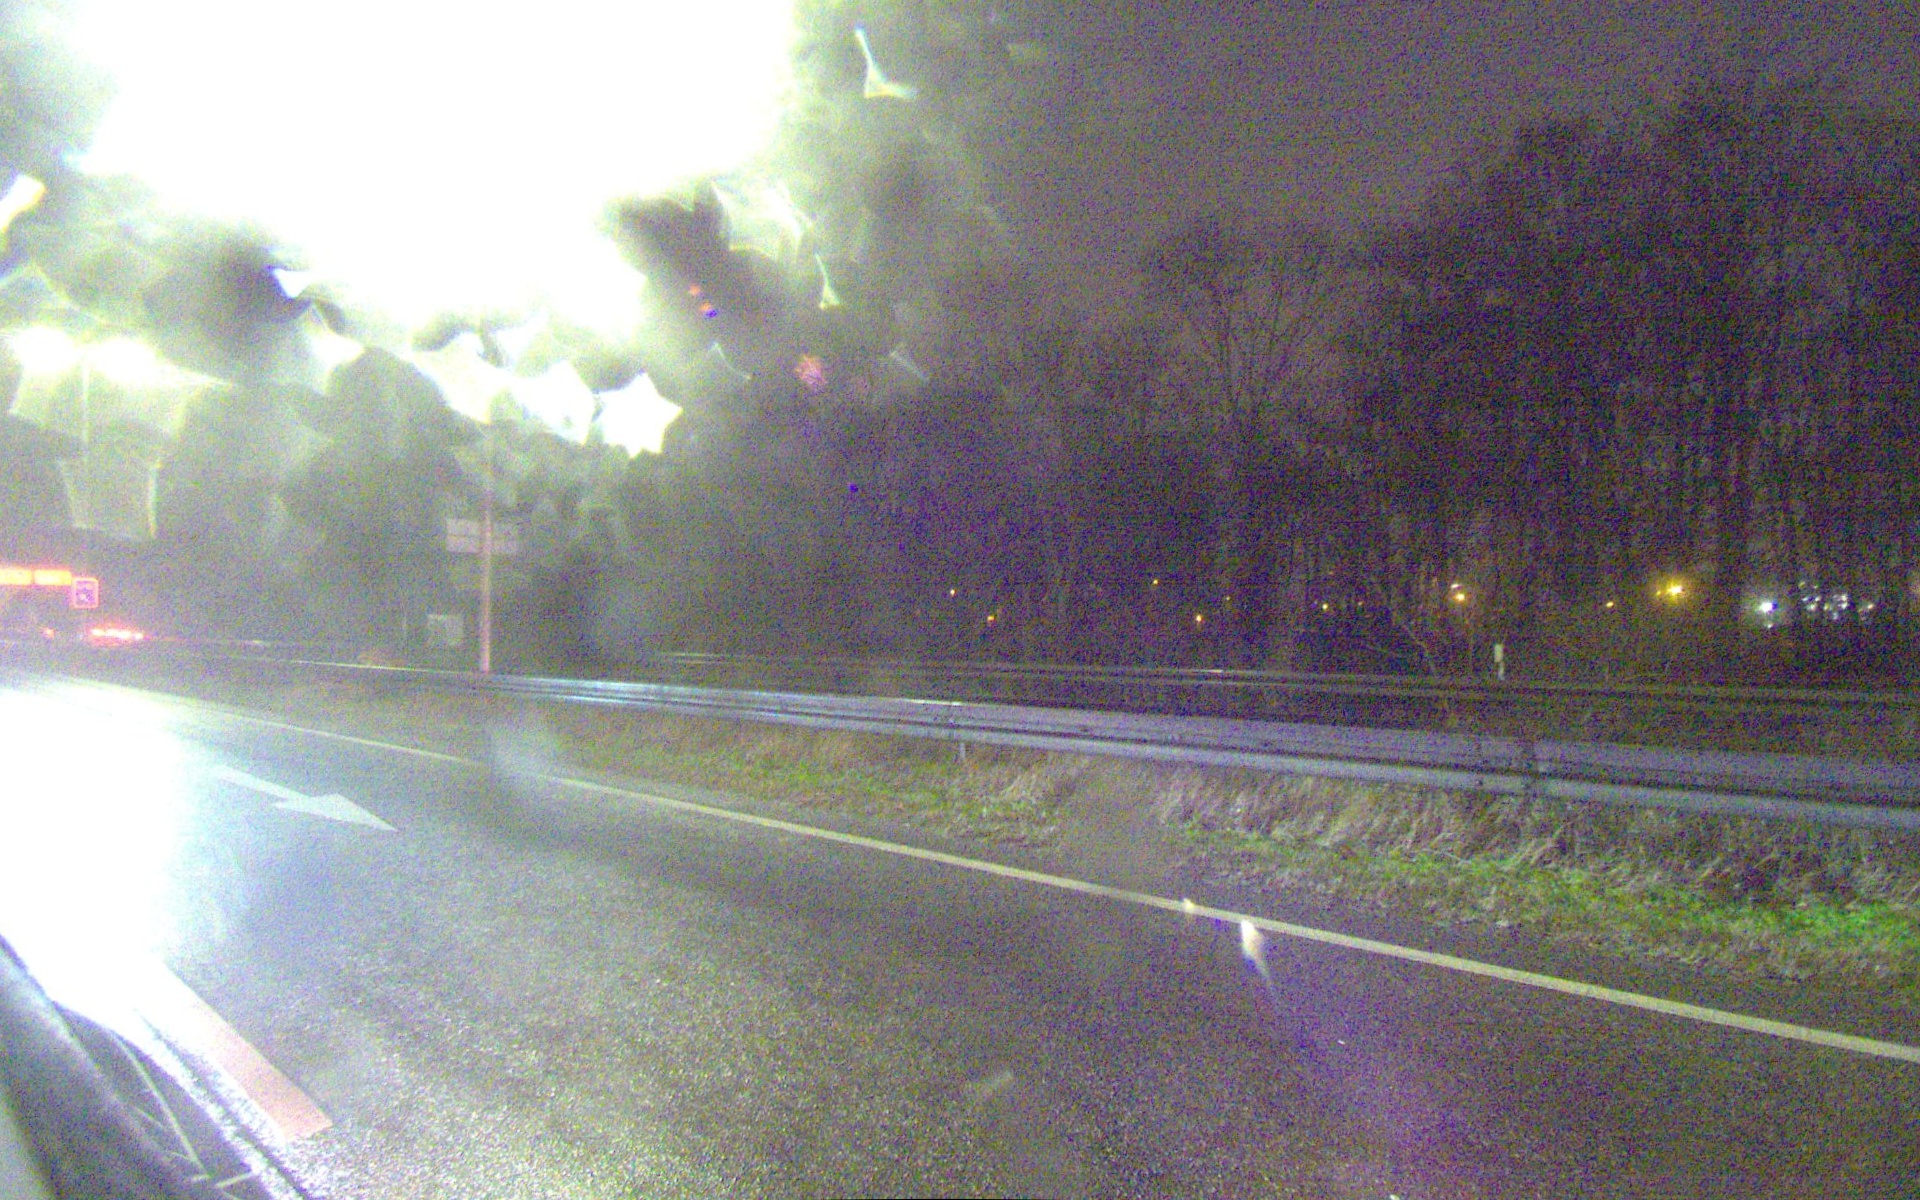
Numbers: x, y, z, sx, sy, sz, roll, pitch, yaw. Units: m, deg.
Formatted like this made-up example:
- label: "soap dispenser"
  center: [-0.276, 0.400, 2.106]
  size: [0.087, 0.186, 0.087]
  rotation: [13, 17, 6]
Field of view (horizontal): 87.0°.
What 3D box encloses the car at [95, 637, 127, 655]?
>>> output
- label: "car"
  center: [-81.038, 4.385, 96.565]
  size: [4.000, 1.660, 1.841]
  rotation: [-2, -1, 43]
